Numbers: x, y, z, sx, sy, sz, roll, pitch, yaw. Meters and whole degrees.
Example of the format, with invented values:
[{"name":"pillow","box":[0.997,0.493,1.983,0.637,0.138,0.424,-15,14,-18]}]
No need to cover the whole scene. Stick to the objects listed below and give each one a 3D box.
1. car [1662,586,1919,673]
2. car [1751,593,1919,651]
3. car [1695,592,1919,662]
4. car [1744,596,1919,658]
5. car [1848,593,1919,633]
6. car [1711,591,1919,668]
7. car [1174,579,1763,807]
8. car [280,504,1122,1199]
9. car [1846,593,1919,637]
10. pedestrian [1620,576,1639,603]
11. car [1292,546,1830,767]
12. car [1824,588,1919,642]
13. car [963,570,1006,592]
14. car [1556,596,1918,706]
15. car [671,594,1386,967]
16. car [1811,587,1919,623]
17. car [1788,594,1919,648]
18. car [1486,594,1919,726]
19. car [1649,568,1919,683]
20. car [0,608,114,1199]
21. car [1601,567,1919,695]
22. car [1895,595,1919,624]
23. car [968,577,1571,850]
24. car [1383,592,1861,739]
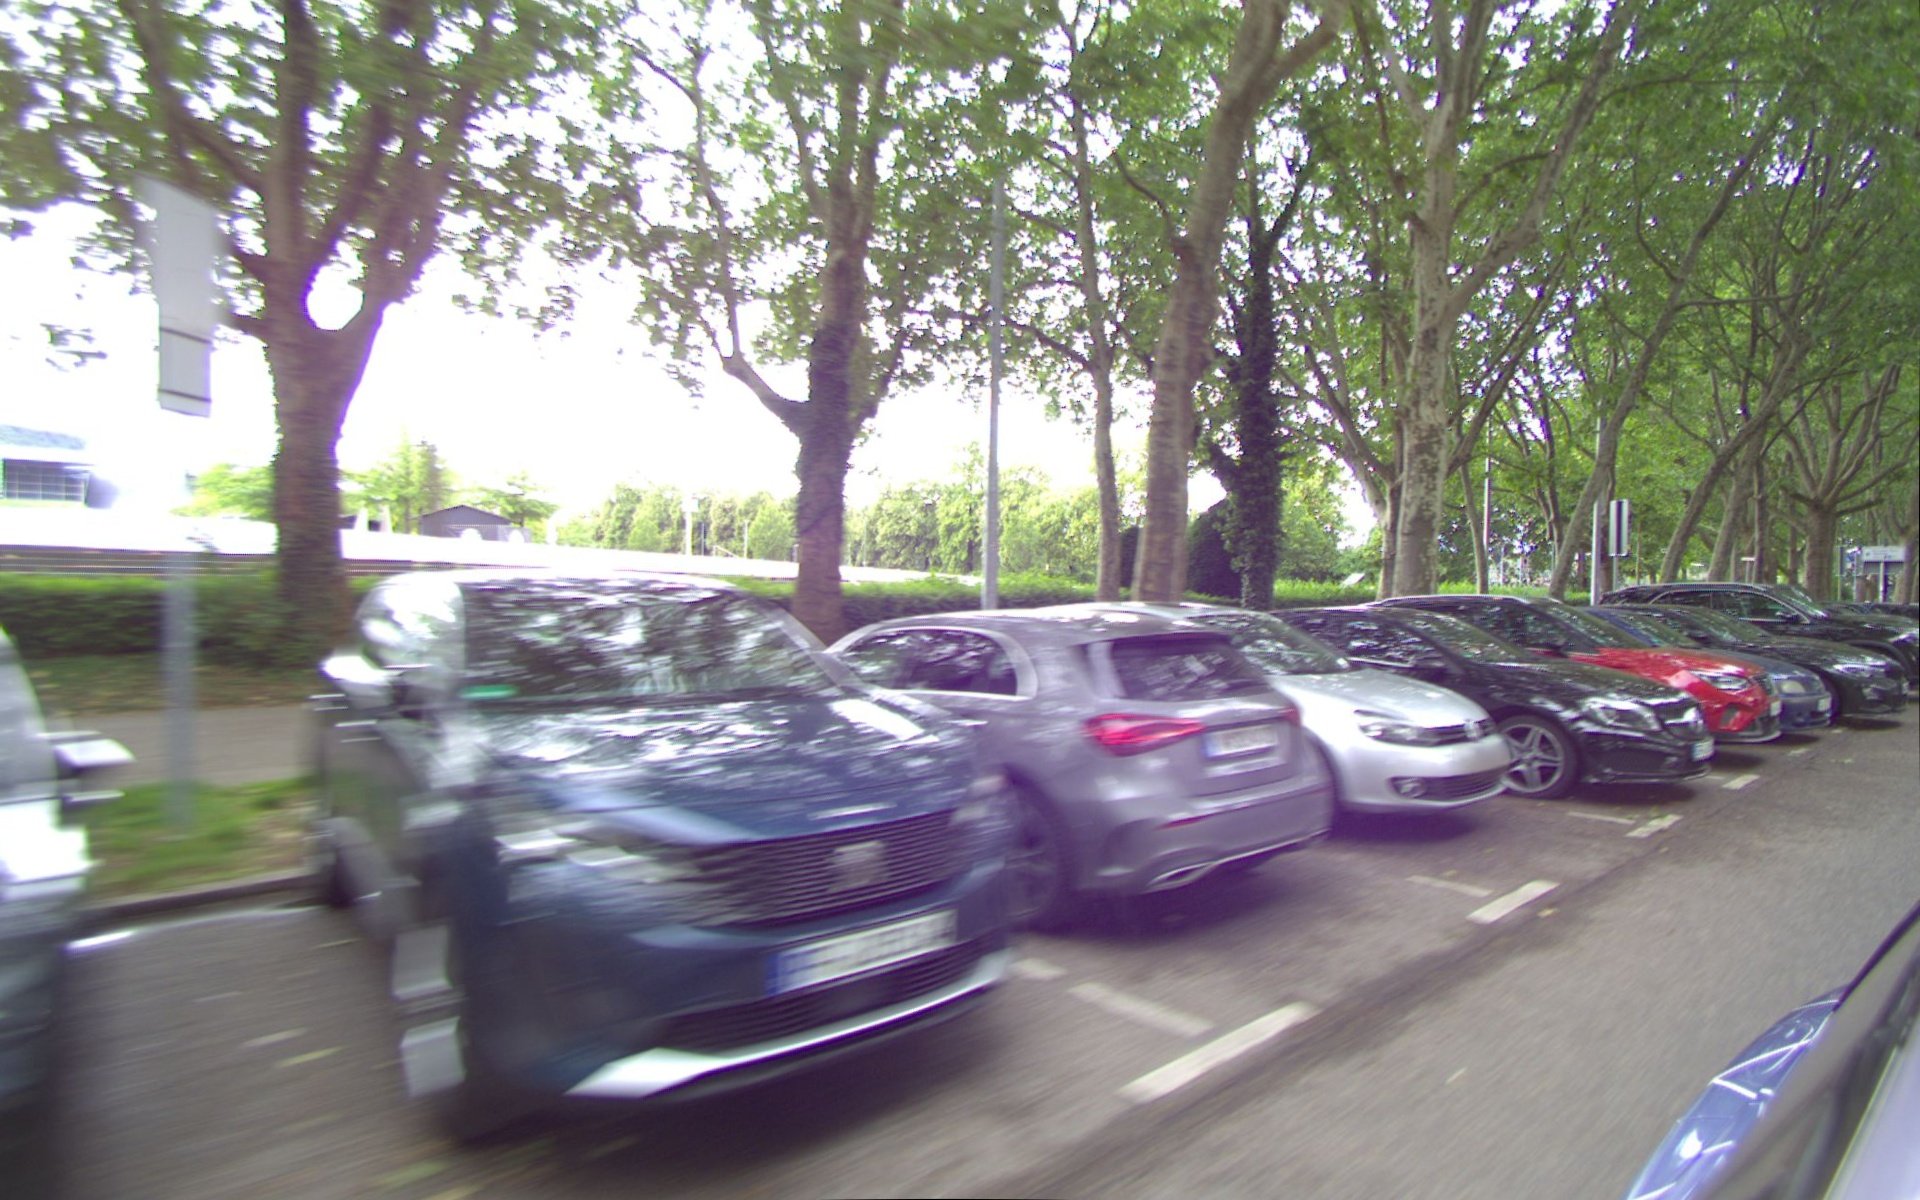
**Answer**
[{"name":"car","box":[17.280,0.547,20.610,2.010,1.592,4.507,1,0,-37]},{"name":"car","box":[24.073,0.566,27.223,1.755,1.474,4.199,1,-1,-44]},{"name":"car","box":[20.370,0.587,24.272,1.755,1.538,4.199,1,-1,-44]},{"name":"car","box":[22.460,0.636,25.398,1.755,1.474,4.199,1,-1,-44]},{"name":"car","box":[35.501,0.462,36.821,1.687,1.435,4.600,1,0,-37]},{"name":"car","box":[19.129,0.611,22.014,1.754,1.538,4.202,-1,0,-41]},{"name":"car","box":[4.232,0.627,9.088,1.890,1.521,4.357,1,0,-38]},{"name":"car","box":[-1.630,0.643,4.402,1.838,1.660,4.602,1,0,-38]},{"name":"car","box":[31.853,0.503,33.317,1.688,1.435,3.838,1,0,-40]},{"name":"pedestrian","box":[39.793,-0.623,60.152,0.685,1.587,0.725,0,0,-35]},{"name":"car","box":[6.061,0.469,10.759,2.009,1.819,4.508,1,0,-36]},{"name":"car","box":[30.167,0.466,31.662,2.018,1.644,4.533,1,0,-40]},{"name":"car","box":[2.339,-1.823,97.080,1.965,2.039,3.995,-1,1,-40]},{"name":"car","box":[11.403,0.654,15.089,1.708,1.408,3.992,0,0,-39]},{"name":"car","box":[0.047,0.699,6.183,1.891,1.431,4.354,1,0,-40]},{"name":"car","box":[41.025,0.214,45.302,1.754,1.480,4.283,0,2,-42]},{"name":"car","box":[26.229,0.575,28.797,4.015,1.466,1.884,0,-1,44]},{"name":"car","box":[9.695,0.650,13.388,1.898,1.446,4.504,0,0,-40]},{"name":"car","box":[15.537,0.420,18.474,2.010,1.890,4.505,1,0,-38]},{"name":"car","box":[-3.440,0.731,2.760,1.713,1.397,4.048,1,0,-40]},{"name":"car","box":[13.257,0.446,16.366,2.011,1.819,4.503,1,0,-41]},{"name":"car","box":[52.566,0.477,53.221,1.966,1.525,4.824,0,-1,-42]},{"name":"car","box":[2.062,0.640,8.000,1.888,1.521,4.361,1,0,-34]},{"name":"car","box":[7.708,0.637,12.209,1.796,1.438,4.505,0,0,-39]}]
